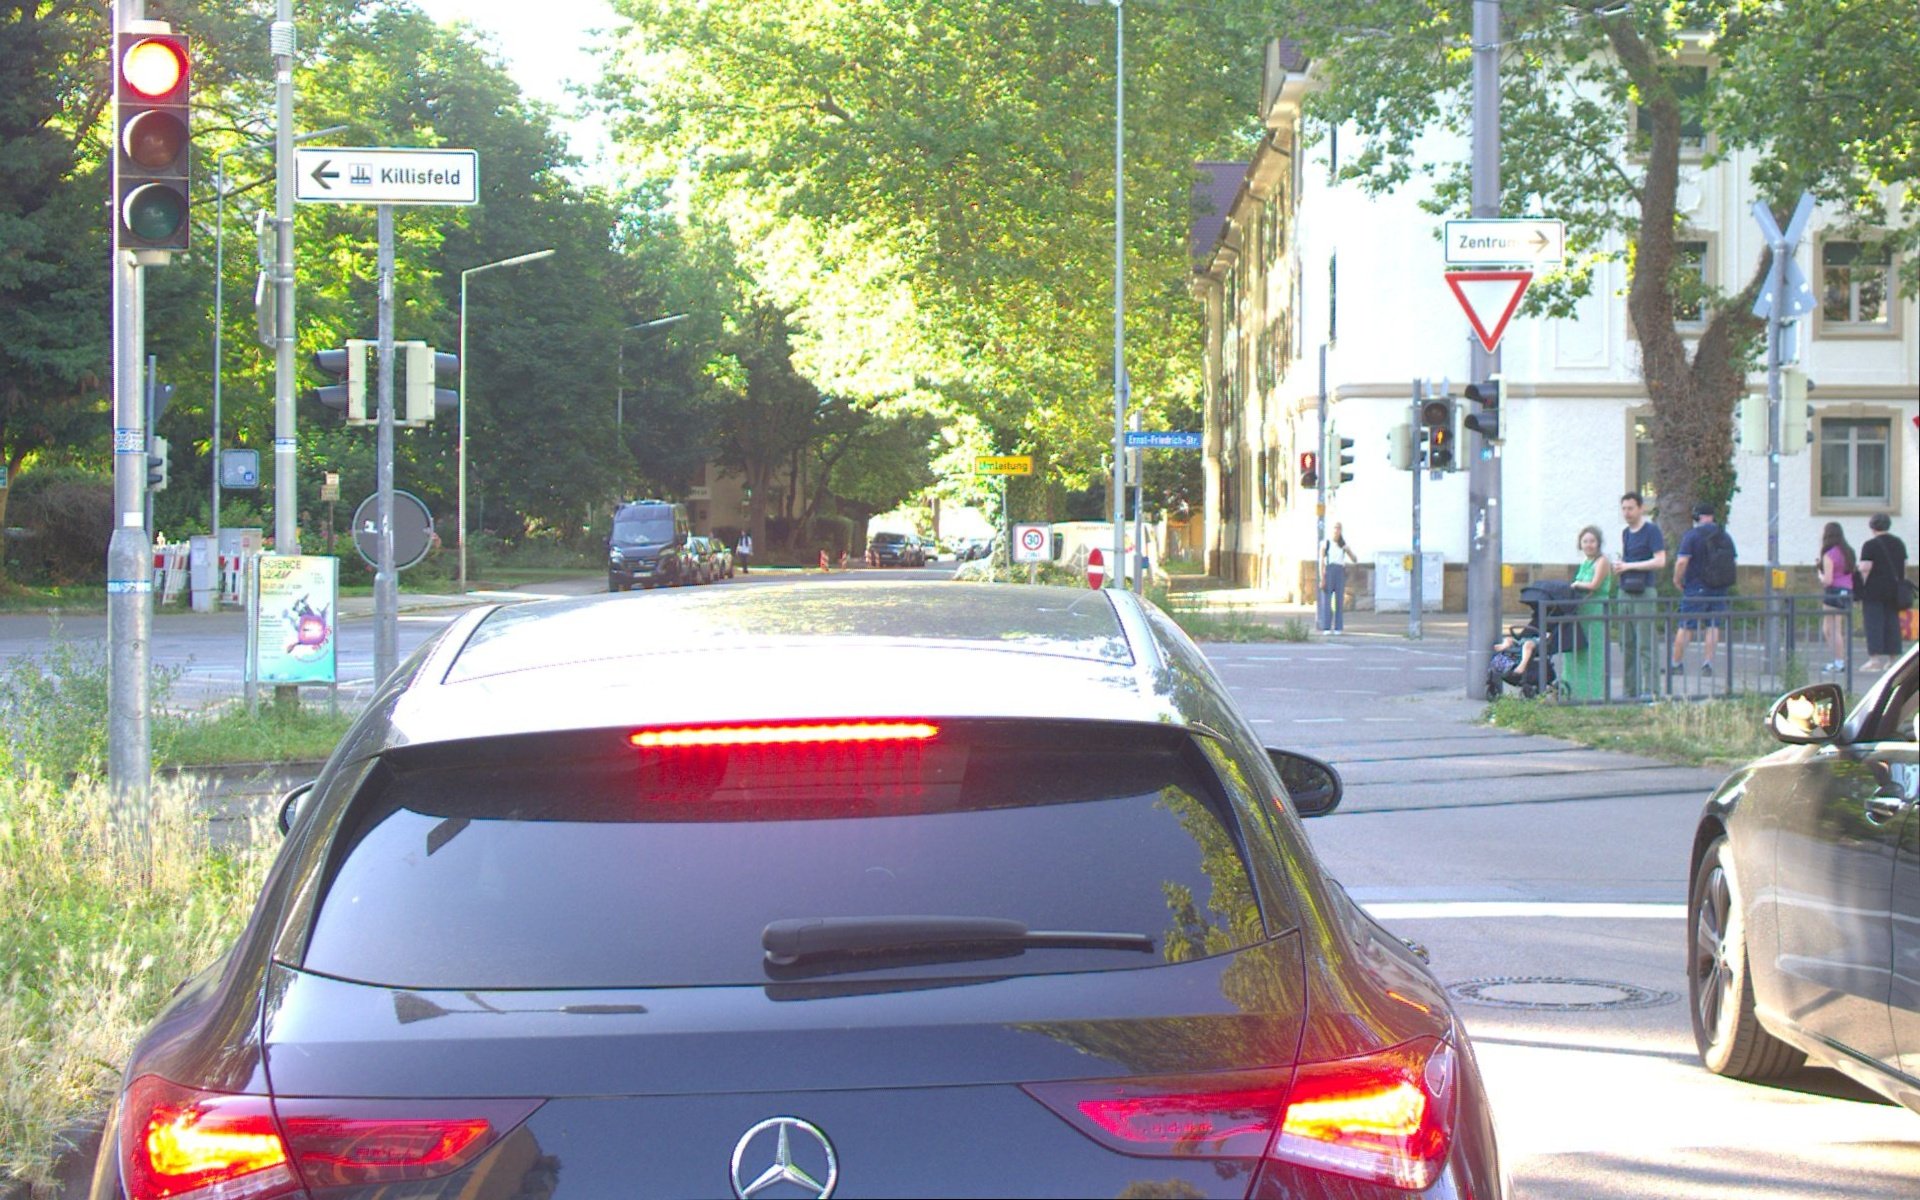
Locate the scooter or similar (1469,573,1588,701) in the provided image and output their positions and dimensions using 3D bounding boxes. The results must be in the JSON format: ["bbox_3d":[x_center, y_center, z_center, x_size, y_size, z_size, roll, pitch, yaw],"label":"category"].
[{"bbox_3d":[4.997,0.320,30.250,0.828,1.101,0.809,1,0,-6],"label":"scooter or similar"}]

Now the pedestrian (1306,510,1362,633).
[{"bbox_3d":[5.874,-0.454,54.021,0.705,1.911,0.839,1,0,-4],"label":"pedestrian"}]

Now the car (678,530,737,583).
[{"bbox_3d":[-8.623,-1.480,117.572,1.733,1.759,4.085,1,1,-1],"label":"car"}]

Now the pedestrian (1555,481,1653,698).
[{"bbox_3d":[5.783,-0.096,30.895,0.682,1.911,0.707,1,0,-4],"label":"pedestrian"}]

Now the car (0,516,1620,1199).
[{"bbox_3d":[-0.296,0.664,5.335,1.889,1.445,4.001,1,3,1],"label":"car"}]

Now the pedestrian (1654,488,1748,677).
[{"bbox_3d":[7.608,-0.181,35.328,0.705,1.911,0.839,1,0,-4],"label":"pedestrian"}]

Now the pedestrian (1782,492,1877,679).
[{"bbox_3d":[9.021,-0.151,35.674,0.705,1.911,0.839,1,0,-4],"label":"pedestrian"}]

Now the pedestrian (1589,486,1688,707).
[{"bbox_3d":[5.941,-0.034,30.124,0.682,1.911,0.707,1,0,-2],"label":"pedestrian"}]

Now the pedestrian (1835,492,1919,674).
[{"bbox_3d":[9.831,-0.179,36.674,0.705,1.911,0.839,1,0,-4],"label":"pedestrian"}]

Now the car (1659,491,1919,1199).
[{"bbox_3d":[2.903,0.571,7.348,1.889,1.485,4.382,1,3,0],"label":"car"}]

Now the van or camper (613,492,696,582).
[{"bbox_3d":[-8.832,-1.800,99.742,1.993,2.532,4.651,1,1,0],"label":"van or camper"}]

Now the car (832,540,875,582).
[{"bbox_3d":[-4.488,-1.643,145.567,1.733,1.759,4.019,1,1,-1],"label":"car"}]

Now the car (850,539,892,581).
[{"bbox_3d":[-3.885,-1.744,150.387,1.733,1.759,4.019,1,1,-1],"label":"car"}]

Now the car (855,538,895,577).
[{"bbox_3d":[-3.908,-1.966,158.469,1.733,1.759,4.019,1,1,-1],"label":"car"}]

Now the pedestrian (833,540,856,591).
[{"bbox_3d":[-4.373,-1.321,130.031,0.705,1.911,0.839,1,0,-10],"label":"pedestrian"}]
